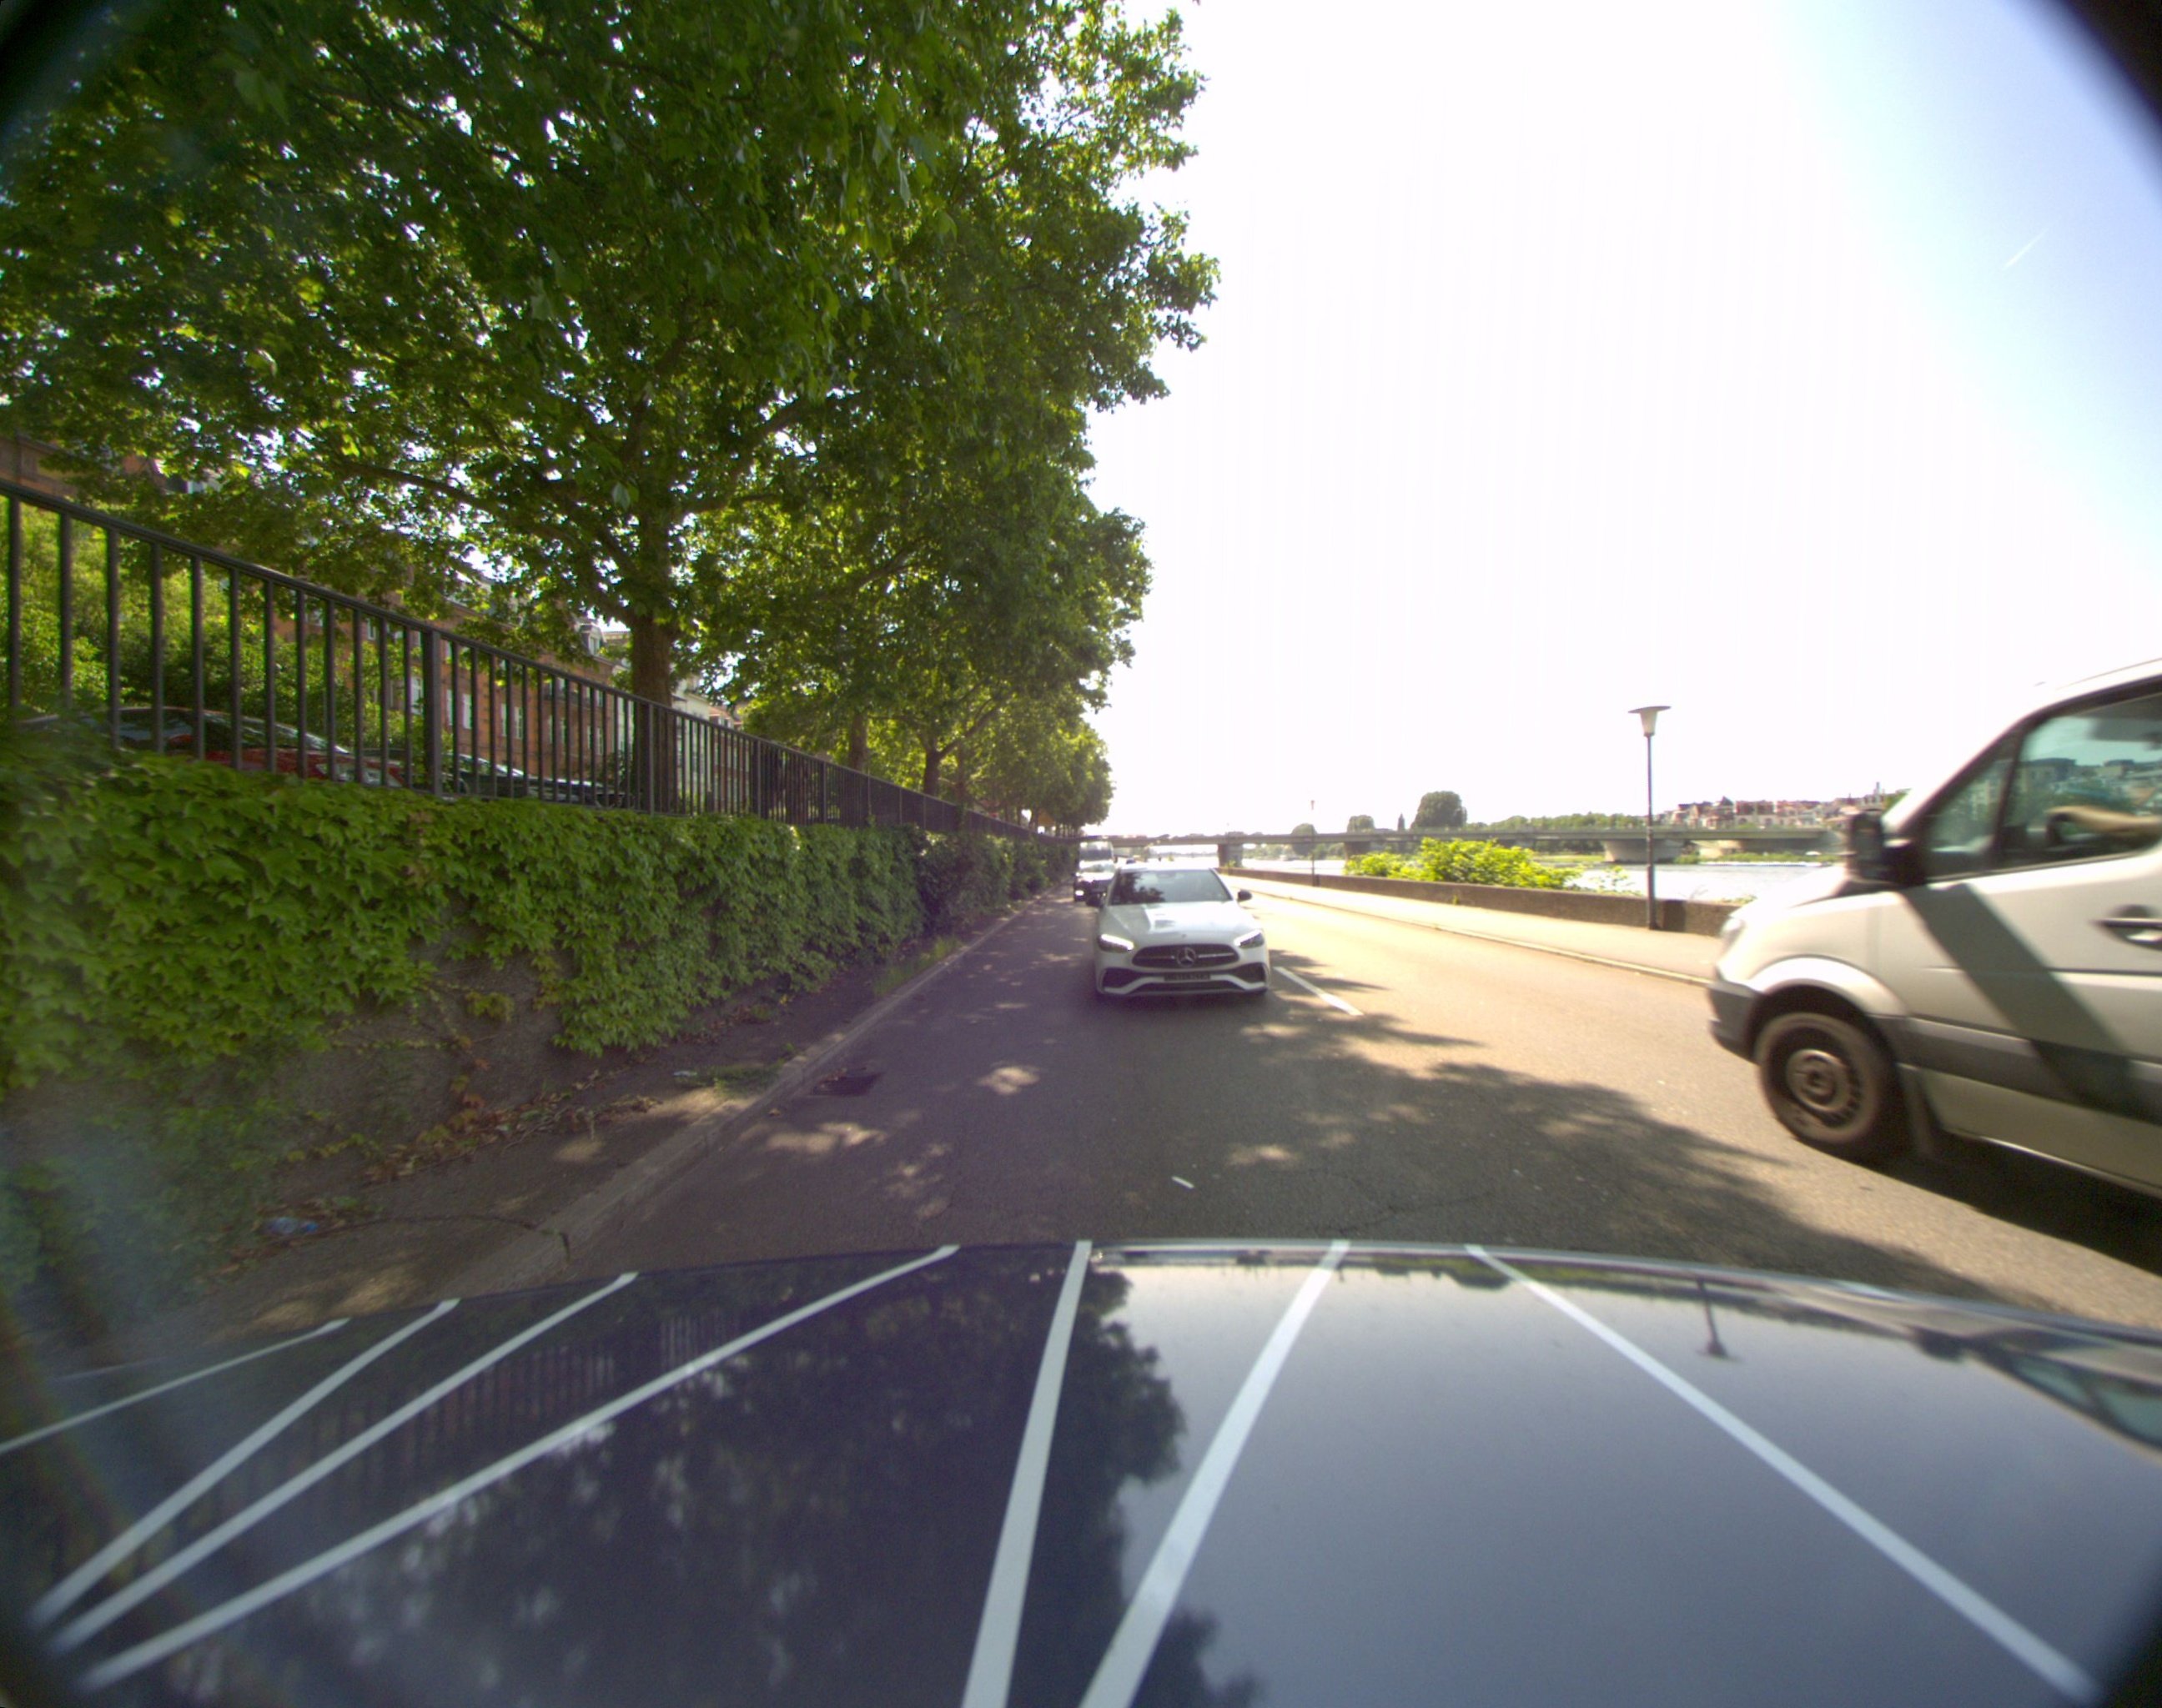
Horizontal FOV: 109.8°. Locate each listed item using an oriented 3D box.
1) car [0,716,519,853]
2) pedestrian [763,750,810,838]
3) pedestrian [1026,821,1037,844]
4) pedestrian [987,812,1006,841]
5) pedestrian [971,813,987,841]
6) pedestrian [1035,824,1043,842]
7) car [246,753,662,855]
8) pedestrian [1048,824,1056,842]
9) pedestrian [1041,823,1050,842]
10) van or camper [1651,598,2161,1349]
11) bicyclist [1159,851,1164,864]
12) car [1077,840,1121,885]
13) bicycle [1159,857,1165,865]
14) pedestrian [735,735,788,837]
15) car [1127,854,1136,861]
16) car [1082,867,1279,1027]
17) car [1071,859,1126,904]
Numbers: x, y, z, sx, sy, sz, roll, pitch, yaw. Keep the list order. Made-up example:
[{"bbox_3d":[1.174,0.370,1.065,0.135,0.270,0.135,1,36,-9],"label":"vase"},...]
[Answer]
[{"bbox_3d":[-7.849,-0.592,7.219,3.740,1.108,1.650,-1,0,-2],"label":"car"},{"bbox_3d":[-4.893,-0.987,12.662,0.586,1.411,0.589,-1,1,-7],"label":"pedestrian"},{"bbox_3d":[-3.469,-1.509,53.518,0.738,1.582,0.811,0,0,1],"label":"pedestrian"},{"bbox_3d":[-3.730,-1.192,33.503,0.713,1.236,0.742,0,0,1],"label":"pedestrian"},{"bbox_3d":[-4.532,-1.185,33.771,0.577,1.236,0.691,0,0,1],"label":"pedestrian"},{"bbox_3d":[-3.638,-1.827,66.035,0.666,1.582,0.651,0,1,1],"label":"pedestrian"},{"bbox_3d":[-7.507,-0.563,9.374,3.740,1.108,1.651,-1,0,0],"label":"car"},{"bbox_3d":[-2.555,-1.819,66.234,0.666,1.582,0.765,0,0,1],"label":"pedestrian"},{"bbox_3d":[-3.070,-1.827,65.526,0.738,1.582,0.811,0,0,1],"label":"pedestrian"},{"bbox_3d":[4.469,0.386,1.896,2.082,2.384,5.385,1,0,1],"label":"van or camper"},{"bbox_3d":[11.133,0.500,104.808,0.663,1.692,0.975,-1,0,1],"label":"bicyclist"},{"bbox_3d":[1.006,0.465,44.400,2.351,2.428,6.208,-1,0,0],"label":"car"},{"bbox_3d":[11.149,0.948,104.843,0.654,0.977,1.944,-1,0,1],"label":"bicycle"},{"bbox_3d":[-5.299,-1.101,12.627,0.649,1.630,0.626,-1,1,-7],"label":"pedestrian"},{"bbox_3d":[10.147,0.724,152.178,1.676,1.433,3.901,-1,0,1],"label":"car"},{"bbox_3d":[1.002,0.927,9.522,1.830,1.411,4.553,-2,0,1],"label":"car"},{"bbox_3d":[0.610,0.972,28.291,1.756,1.385,4.619,-4,0,0],"label":"car"}]
